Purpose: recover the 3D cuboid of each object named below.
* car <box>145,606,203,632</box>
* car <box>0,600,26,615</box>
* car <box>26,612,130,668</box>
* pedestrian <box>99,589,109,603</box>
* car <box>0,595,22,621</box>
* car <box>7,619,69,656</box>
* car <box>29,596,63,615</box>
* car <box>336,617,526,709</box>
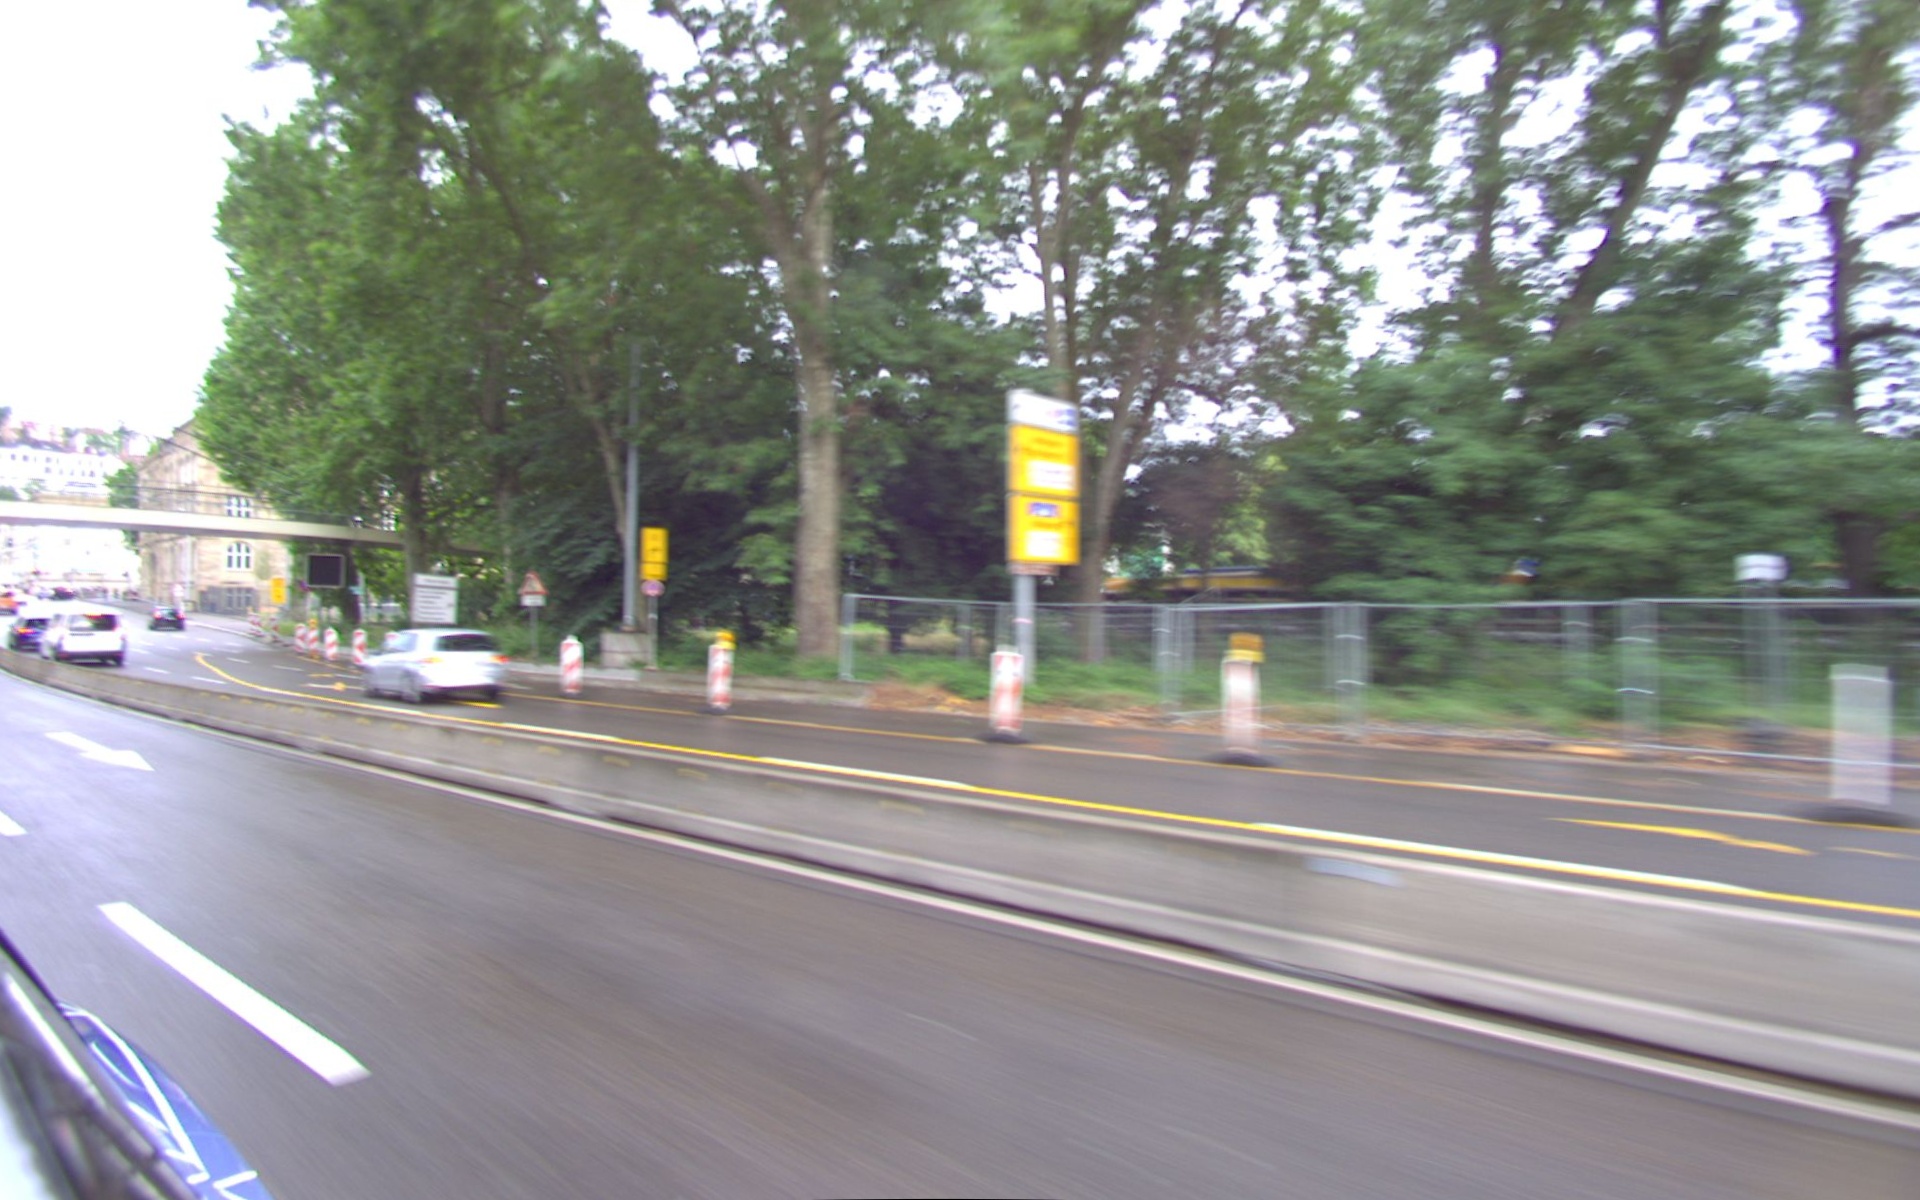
[{"bbox_3d":[-52.770,1.324,68.038,2.002,1.666,4.333,1,-2,-23],"label":"car"},{"bbox_3d":[-93.997,0.716,99.783,4.204,1.393,1.975,2,-1,36],"label":"car"},{"bbox_3d":[-29.058,1.287,33.298,4.911,1.666,2.008,0,-3,43],"label":"car"},{"bbox_3d":[-101.438,-0.444,119.943,0.733,1.596,0.611,2,-1,35],"label":"pedestrian"},{"bbox_3d":[-78.649,0.654,83.116,5.046,1.951,2.008,2,-1,44],"label":"car"},{"bbox_3d":[-37.423,1.510,41.037,1.692,1.349,4.065,6,-5,-43],"label":"car"},{"bbox_3d":[-106.005,0.595,117.391,3.989,2.029,1.977,2,-1,34],"label":"car"},{"bbox_3d":[-11.001,1.243,20.954,4.083,1.552,1.852,2,-1,37],"label":"car"}]
